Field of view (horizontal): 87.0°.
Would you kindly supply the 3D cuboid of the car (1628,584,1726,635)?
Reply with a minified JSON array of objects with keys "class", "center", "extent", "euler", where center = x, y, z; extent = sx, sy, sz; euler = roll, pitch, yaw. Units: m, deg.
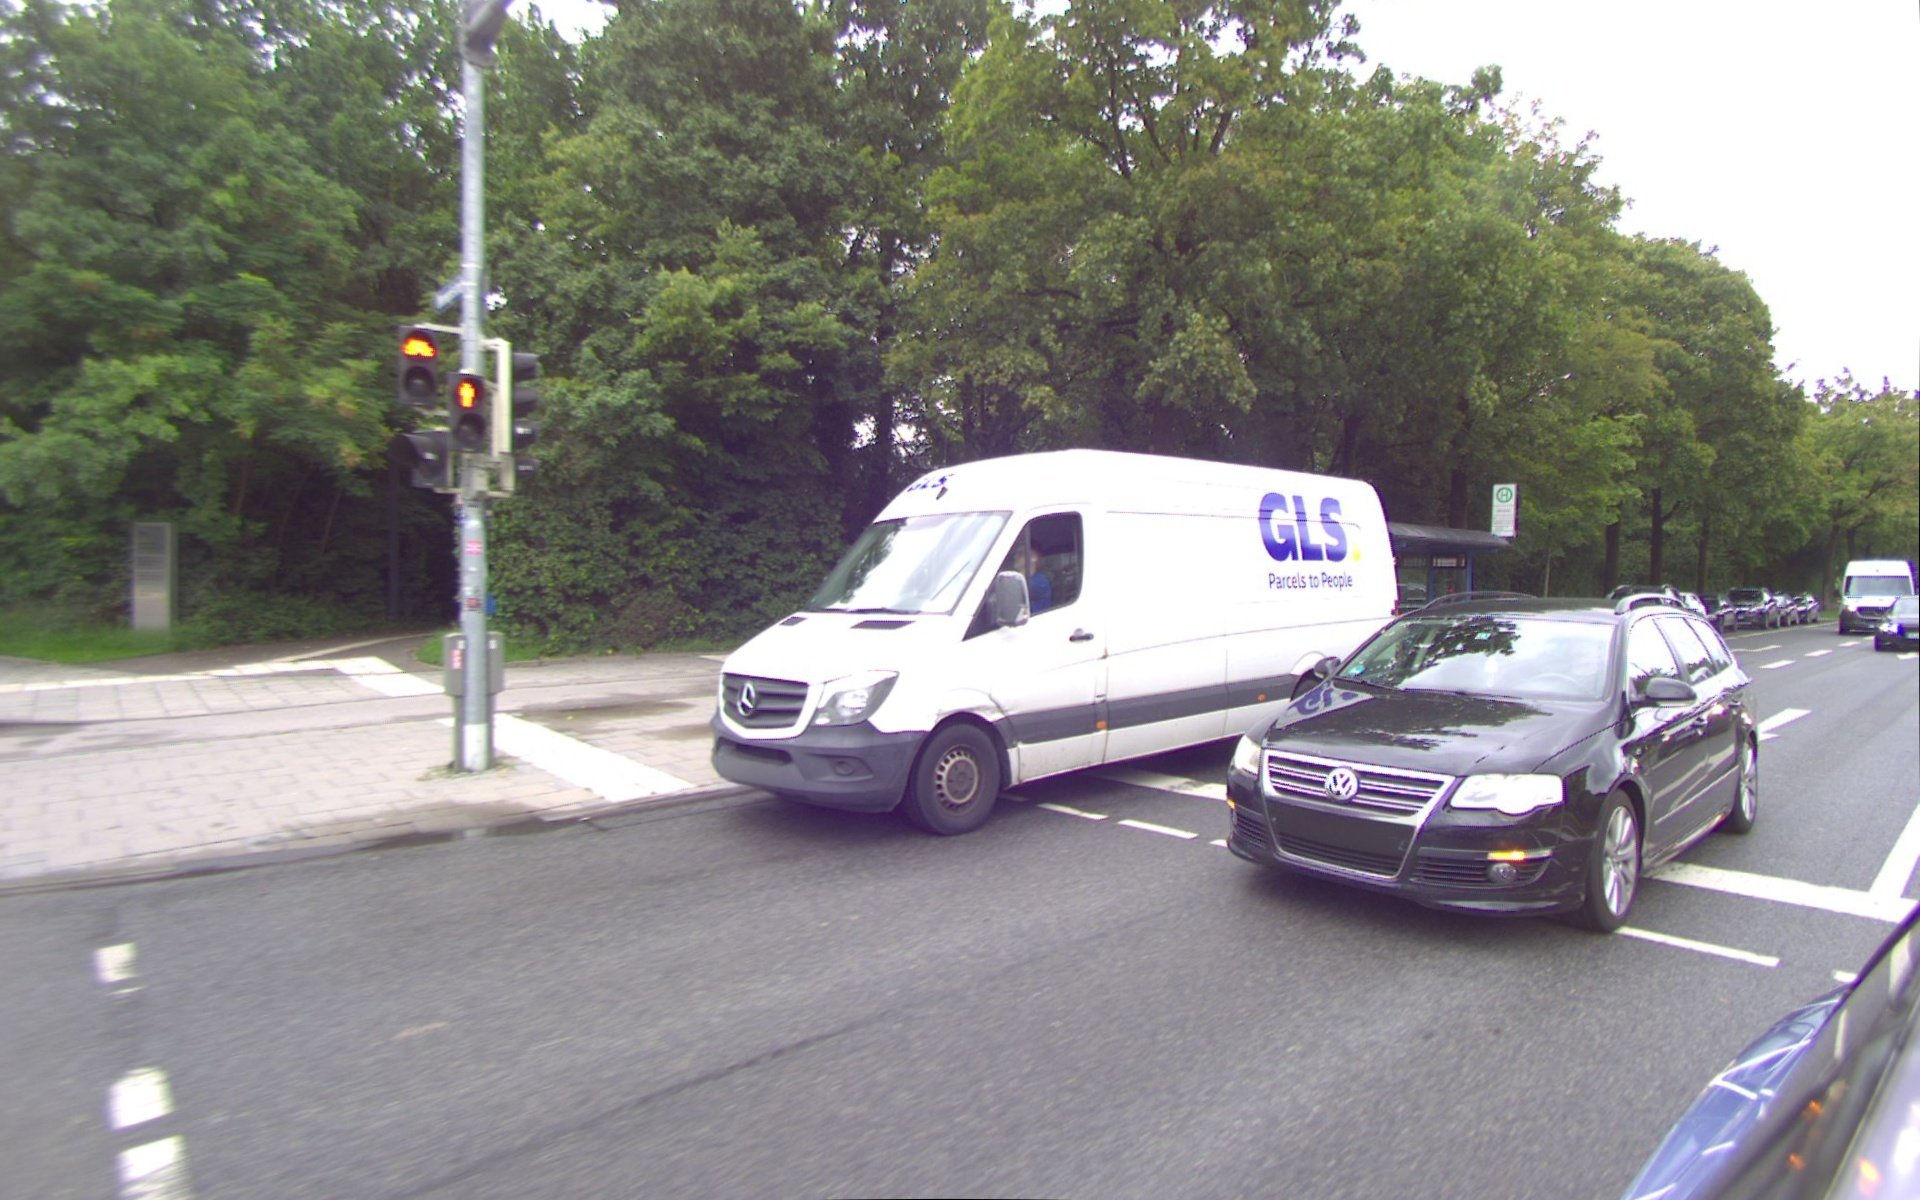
[{"class":"car","center":[23.700,0.257,33.395],"extent":[4.322,1.543,1.750],"euler":[-1,2,-43]}]

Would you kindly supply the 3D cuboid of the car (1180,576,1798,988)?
[{"class":"car","center":[3.347,0.619,5.873],"extent":[4.592,1.493,1.749],"euler":[-1,1,-43]}]

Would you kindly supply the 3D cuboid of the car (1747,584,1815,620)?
[{"class":"car","center":[36.022,0.066,44.362],"extent":[3.970,1.485,1.750],"euler":[-1,2,-43]}]

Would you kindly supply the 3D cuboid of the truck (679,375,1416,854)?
[{"class":"truck","center":[1.333,0.019,8.696],"extent":[7.103,2.636,1.997],"euler":[-1,1,-42]}]

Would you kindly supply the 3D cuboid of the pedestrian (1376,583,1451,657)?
[{"class":"pedestrian","center":[8.776,0.381,19.607],"extent":[0.601,1.401,1.155],"euler":[0,-1,-43]}]

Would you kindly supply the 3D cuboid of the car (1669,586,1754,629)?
[{"class":"car","center":[27.635,0.221,37.162],"extent":[4.183,1.446,1.750],"euler":[-1,2,-43]}]

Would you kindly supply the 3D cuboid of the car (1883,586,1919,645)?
[{"class":"car","center":[25.606,0.383,26.336],"extent":[4.590,1.447,1.818],"euler":[-1,2,-41]}]

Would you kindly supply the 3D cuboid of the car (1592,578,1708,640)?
[{"class":"car","center":[20.299,0.201,29.691],"extent":[4.322,1.670,1.882],"euler":[-1,2,-43]}]

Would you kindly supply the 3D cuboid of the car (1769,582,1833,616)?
[{"class":"car","center":[39.549,-0.081,47.567],"extent":[4.183,1.485,1.750],"euler":[-1,2,-43]}]

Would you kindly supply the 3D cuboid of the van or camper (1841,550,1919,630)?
[{"class":"van or camper","center":[33.158,-0.394,35.694],"extent":[6.951,2.593,2.182],"euler":[-1,2,-41]}]

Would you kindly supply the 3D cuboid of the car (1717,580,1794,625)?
[{"class":"car","center":[31.964,0.057,40.630],"extent":[4.183,1.670,1.750],"euler":[-1,2,-43]}]
